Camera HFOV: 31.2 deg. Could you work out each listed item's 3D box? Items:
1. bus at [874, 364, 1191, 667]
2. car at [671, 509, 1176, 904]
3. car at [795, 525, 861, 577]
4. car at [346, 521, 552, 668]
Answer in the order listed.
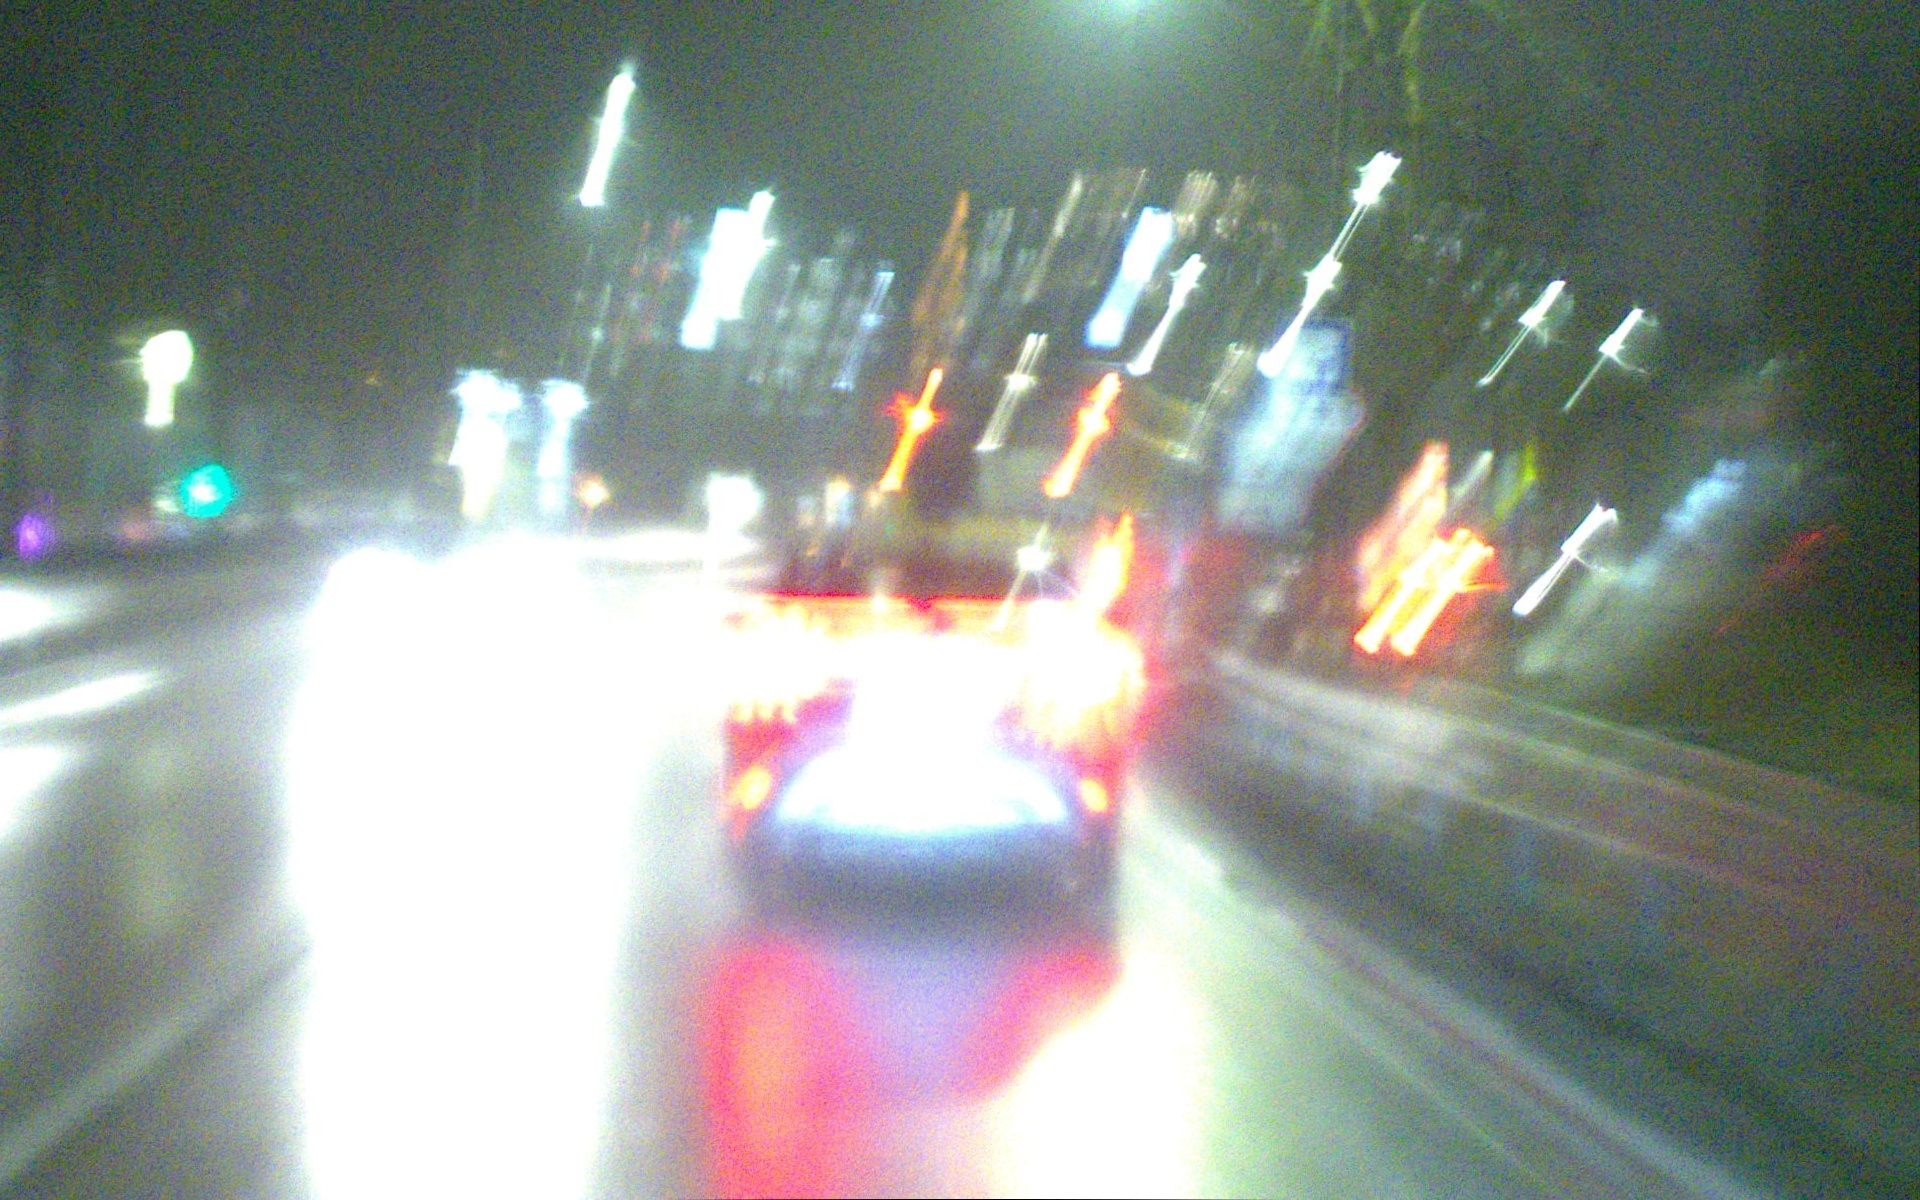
[{"bbox_3d":[1.069,-0.997,41.007,3.044,3.201,9.049,0,1,6],"label":"bus"},{"bbox_3d":[-0.070,0.371,15.735,1.994,1.519,4.000,1,2,2],"label":"car"},{"bbox_3d":[-4.042,-1.521,106.118,1.826,1.498,4.188,2,1,0],"label":"car"},{"bbox_3d":[-5.416,-0.099,36.848,1.823,1.398,4.037,2,2,-4],"label":"car"}]
